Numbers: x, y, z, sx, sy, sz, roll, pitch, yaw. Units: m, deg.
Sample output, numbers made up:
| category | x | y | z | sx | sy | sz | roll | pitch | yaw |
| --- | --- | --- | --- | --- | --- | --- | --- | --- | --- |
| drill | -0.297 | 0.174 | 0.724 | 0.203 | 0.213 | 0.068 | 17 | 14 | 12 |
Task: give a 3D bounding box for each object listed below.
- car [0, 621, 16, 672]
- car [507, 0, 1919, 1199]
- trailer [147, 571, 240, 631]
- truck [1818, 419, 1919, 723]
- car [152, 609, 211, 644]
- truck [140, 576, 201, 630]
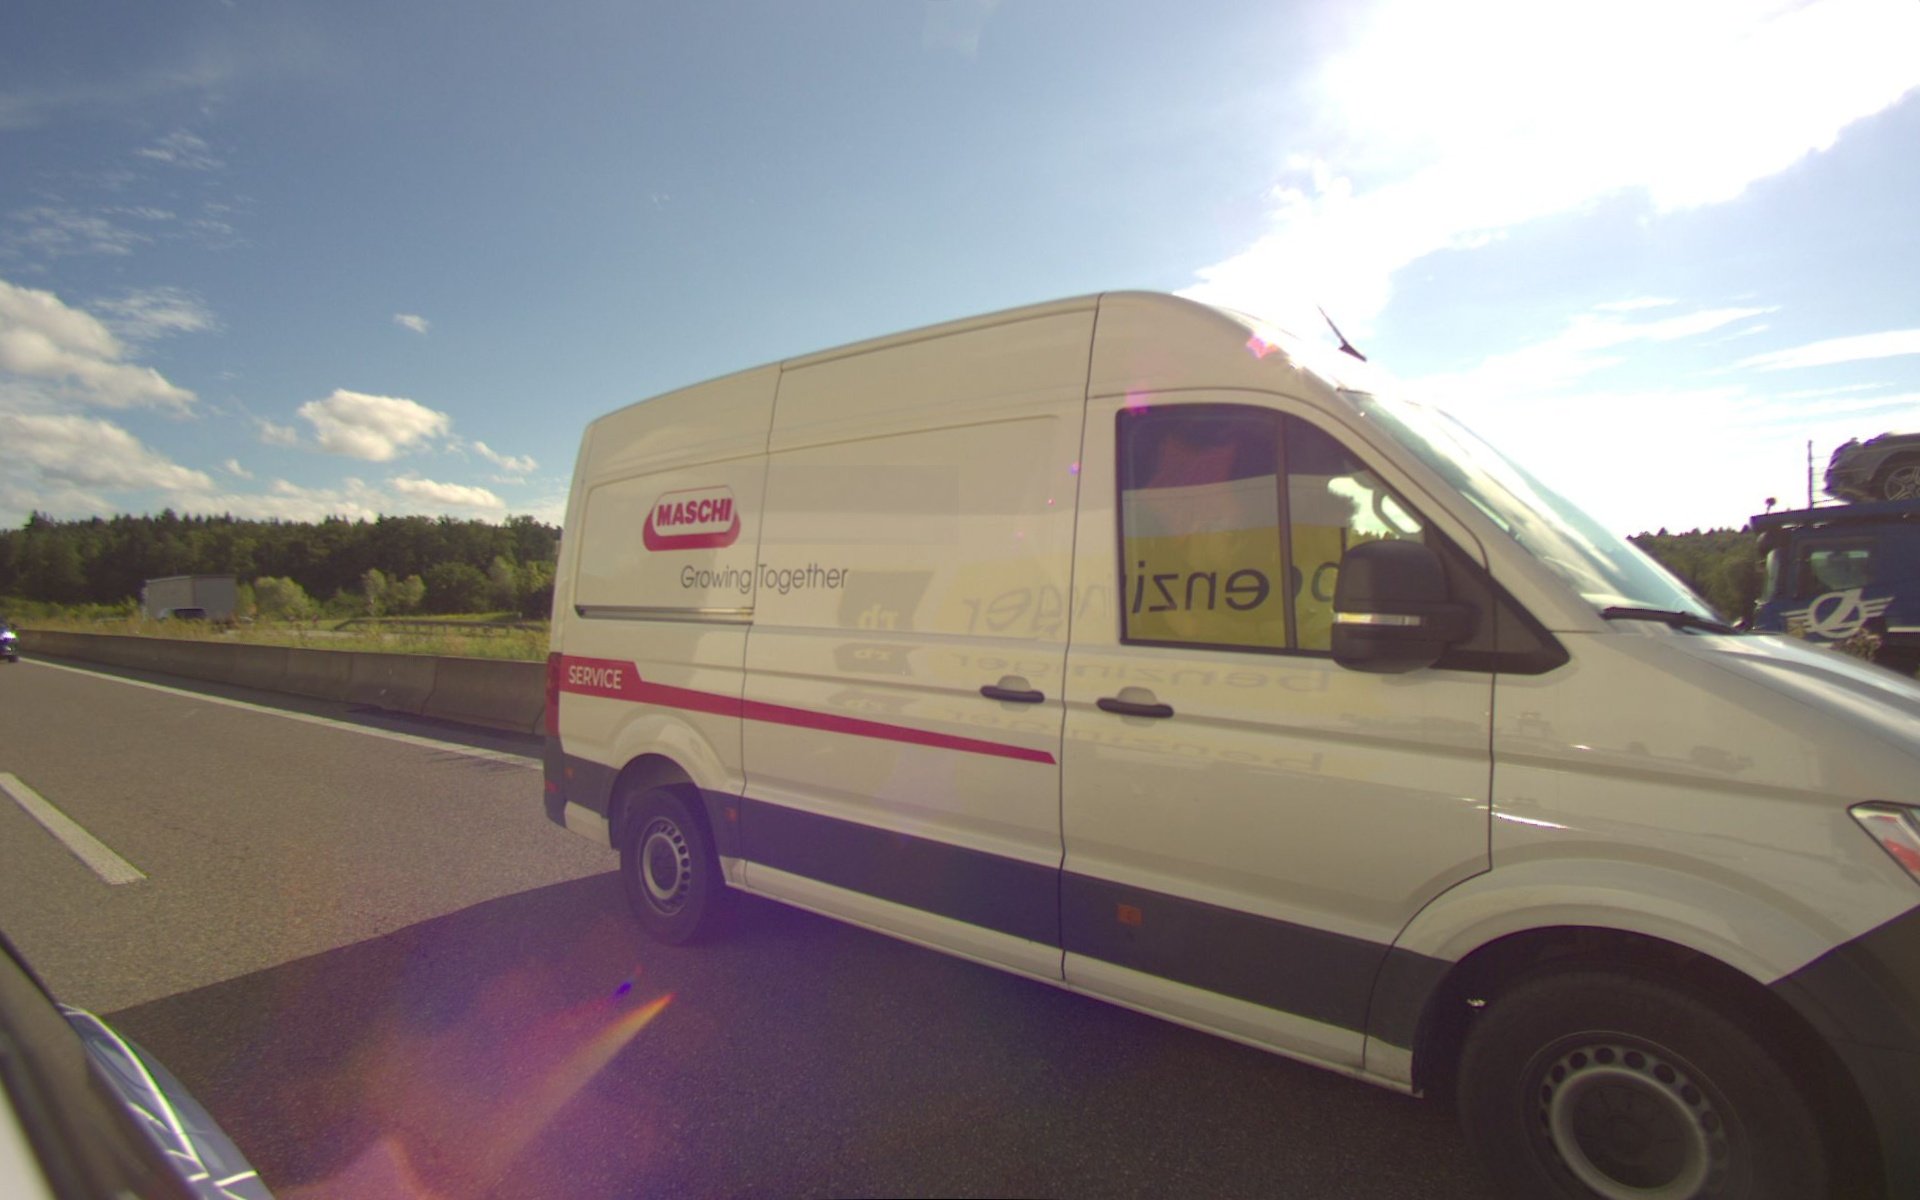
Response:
| category | x | y | z | sx | sy | sz | roll | pitch | yaw |
| --- | --- | --- | --- | --- | --- | --- | --- | --- | --- |
| car | -31.163 | 1.435 | 31.839 | 4.157 | 1.554 | 1.755 | -1 | -2 | 42 |
| car | 0.627 | 0.189 | 4.034 | 6.177 | 2.619 | 1.994 | -2 | -2 | 41 |
| trailer | -55.703 | 0.172 | 73.339 | 13.544 | 4.022 | 2.802 | -1 | 0 | 42 |
| truck | 16.110 | -0.407 | 10.350 | 11.127 | 3.717 | 2.801 | -1 | -1 | 41 |
| car | -45.420 | 1.534 | 59.030 | 4.488 | 1.890 | 1.859 | -1 | 2 | 42 |
| truck | -60.889 | 0.278 | 78.007 | 5.831 | 4.006 | 2.789 | -1 | 0 | 42 |
